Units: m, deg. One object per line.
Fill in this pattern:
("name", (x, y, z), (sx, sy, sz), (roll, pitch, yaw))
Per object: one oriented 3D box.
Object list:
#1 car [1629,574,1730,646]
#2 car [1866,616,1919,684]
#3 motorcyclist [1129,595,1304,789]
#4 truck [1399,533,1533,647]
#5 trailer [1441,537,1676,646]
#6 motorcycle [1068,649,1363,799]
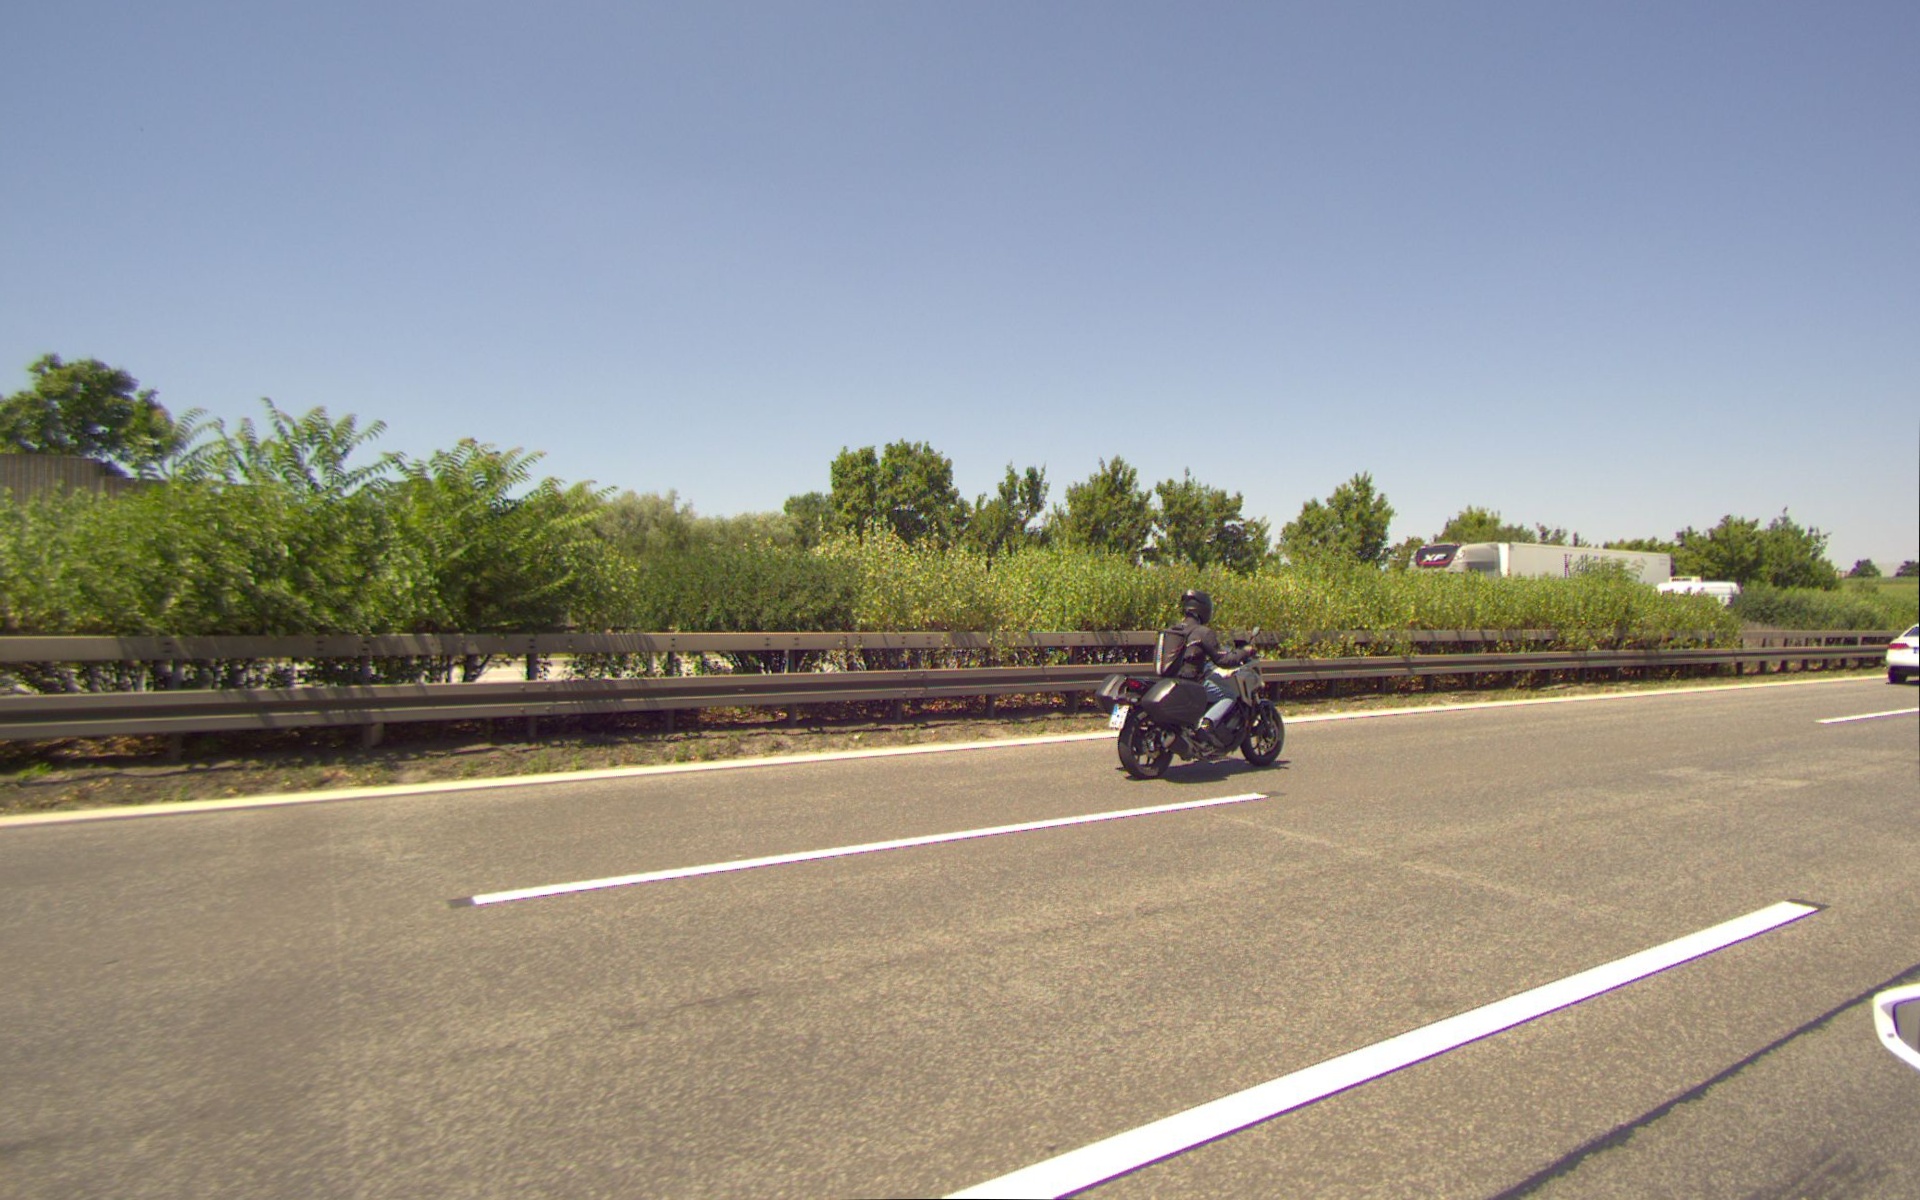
("car", (29.209, 0.404, 40.765), (3.956, 2.802, 1.982), (1, 0, -32))
("car", (23.282, 1.146, 23.410), (5.068, 1.460, 1.866), (1, 0, -32))
("motorcyclist", (2.318, 0.774, 9.100), (1.285, 1.618, 0.888), (1, 0, -32))
("truck", (19.825, -0.335, 39.335), (4.695, 4.211, 2.591), (1, 0, -32))
("trailer", (26.121, -0.226, 43.325), (14.071, 4.189, 2.591), (1, 0, -32))
("motorcycle", (2.378, 1.044, 9.136), (2.818, 1.103, 0.908), (1, 0, -32))
